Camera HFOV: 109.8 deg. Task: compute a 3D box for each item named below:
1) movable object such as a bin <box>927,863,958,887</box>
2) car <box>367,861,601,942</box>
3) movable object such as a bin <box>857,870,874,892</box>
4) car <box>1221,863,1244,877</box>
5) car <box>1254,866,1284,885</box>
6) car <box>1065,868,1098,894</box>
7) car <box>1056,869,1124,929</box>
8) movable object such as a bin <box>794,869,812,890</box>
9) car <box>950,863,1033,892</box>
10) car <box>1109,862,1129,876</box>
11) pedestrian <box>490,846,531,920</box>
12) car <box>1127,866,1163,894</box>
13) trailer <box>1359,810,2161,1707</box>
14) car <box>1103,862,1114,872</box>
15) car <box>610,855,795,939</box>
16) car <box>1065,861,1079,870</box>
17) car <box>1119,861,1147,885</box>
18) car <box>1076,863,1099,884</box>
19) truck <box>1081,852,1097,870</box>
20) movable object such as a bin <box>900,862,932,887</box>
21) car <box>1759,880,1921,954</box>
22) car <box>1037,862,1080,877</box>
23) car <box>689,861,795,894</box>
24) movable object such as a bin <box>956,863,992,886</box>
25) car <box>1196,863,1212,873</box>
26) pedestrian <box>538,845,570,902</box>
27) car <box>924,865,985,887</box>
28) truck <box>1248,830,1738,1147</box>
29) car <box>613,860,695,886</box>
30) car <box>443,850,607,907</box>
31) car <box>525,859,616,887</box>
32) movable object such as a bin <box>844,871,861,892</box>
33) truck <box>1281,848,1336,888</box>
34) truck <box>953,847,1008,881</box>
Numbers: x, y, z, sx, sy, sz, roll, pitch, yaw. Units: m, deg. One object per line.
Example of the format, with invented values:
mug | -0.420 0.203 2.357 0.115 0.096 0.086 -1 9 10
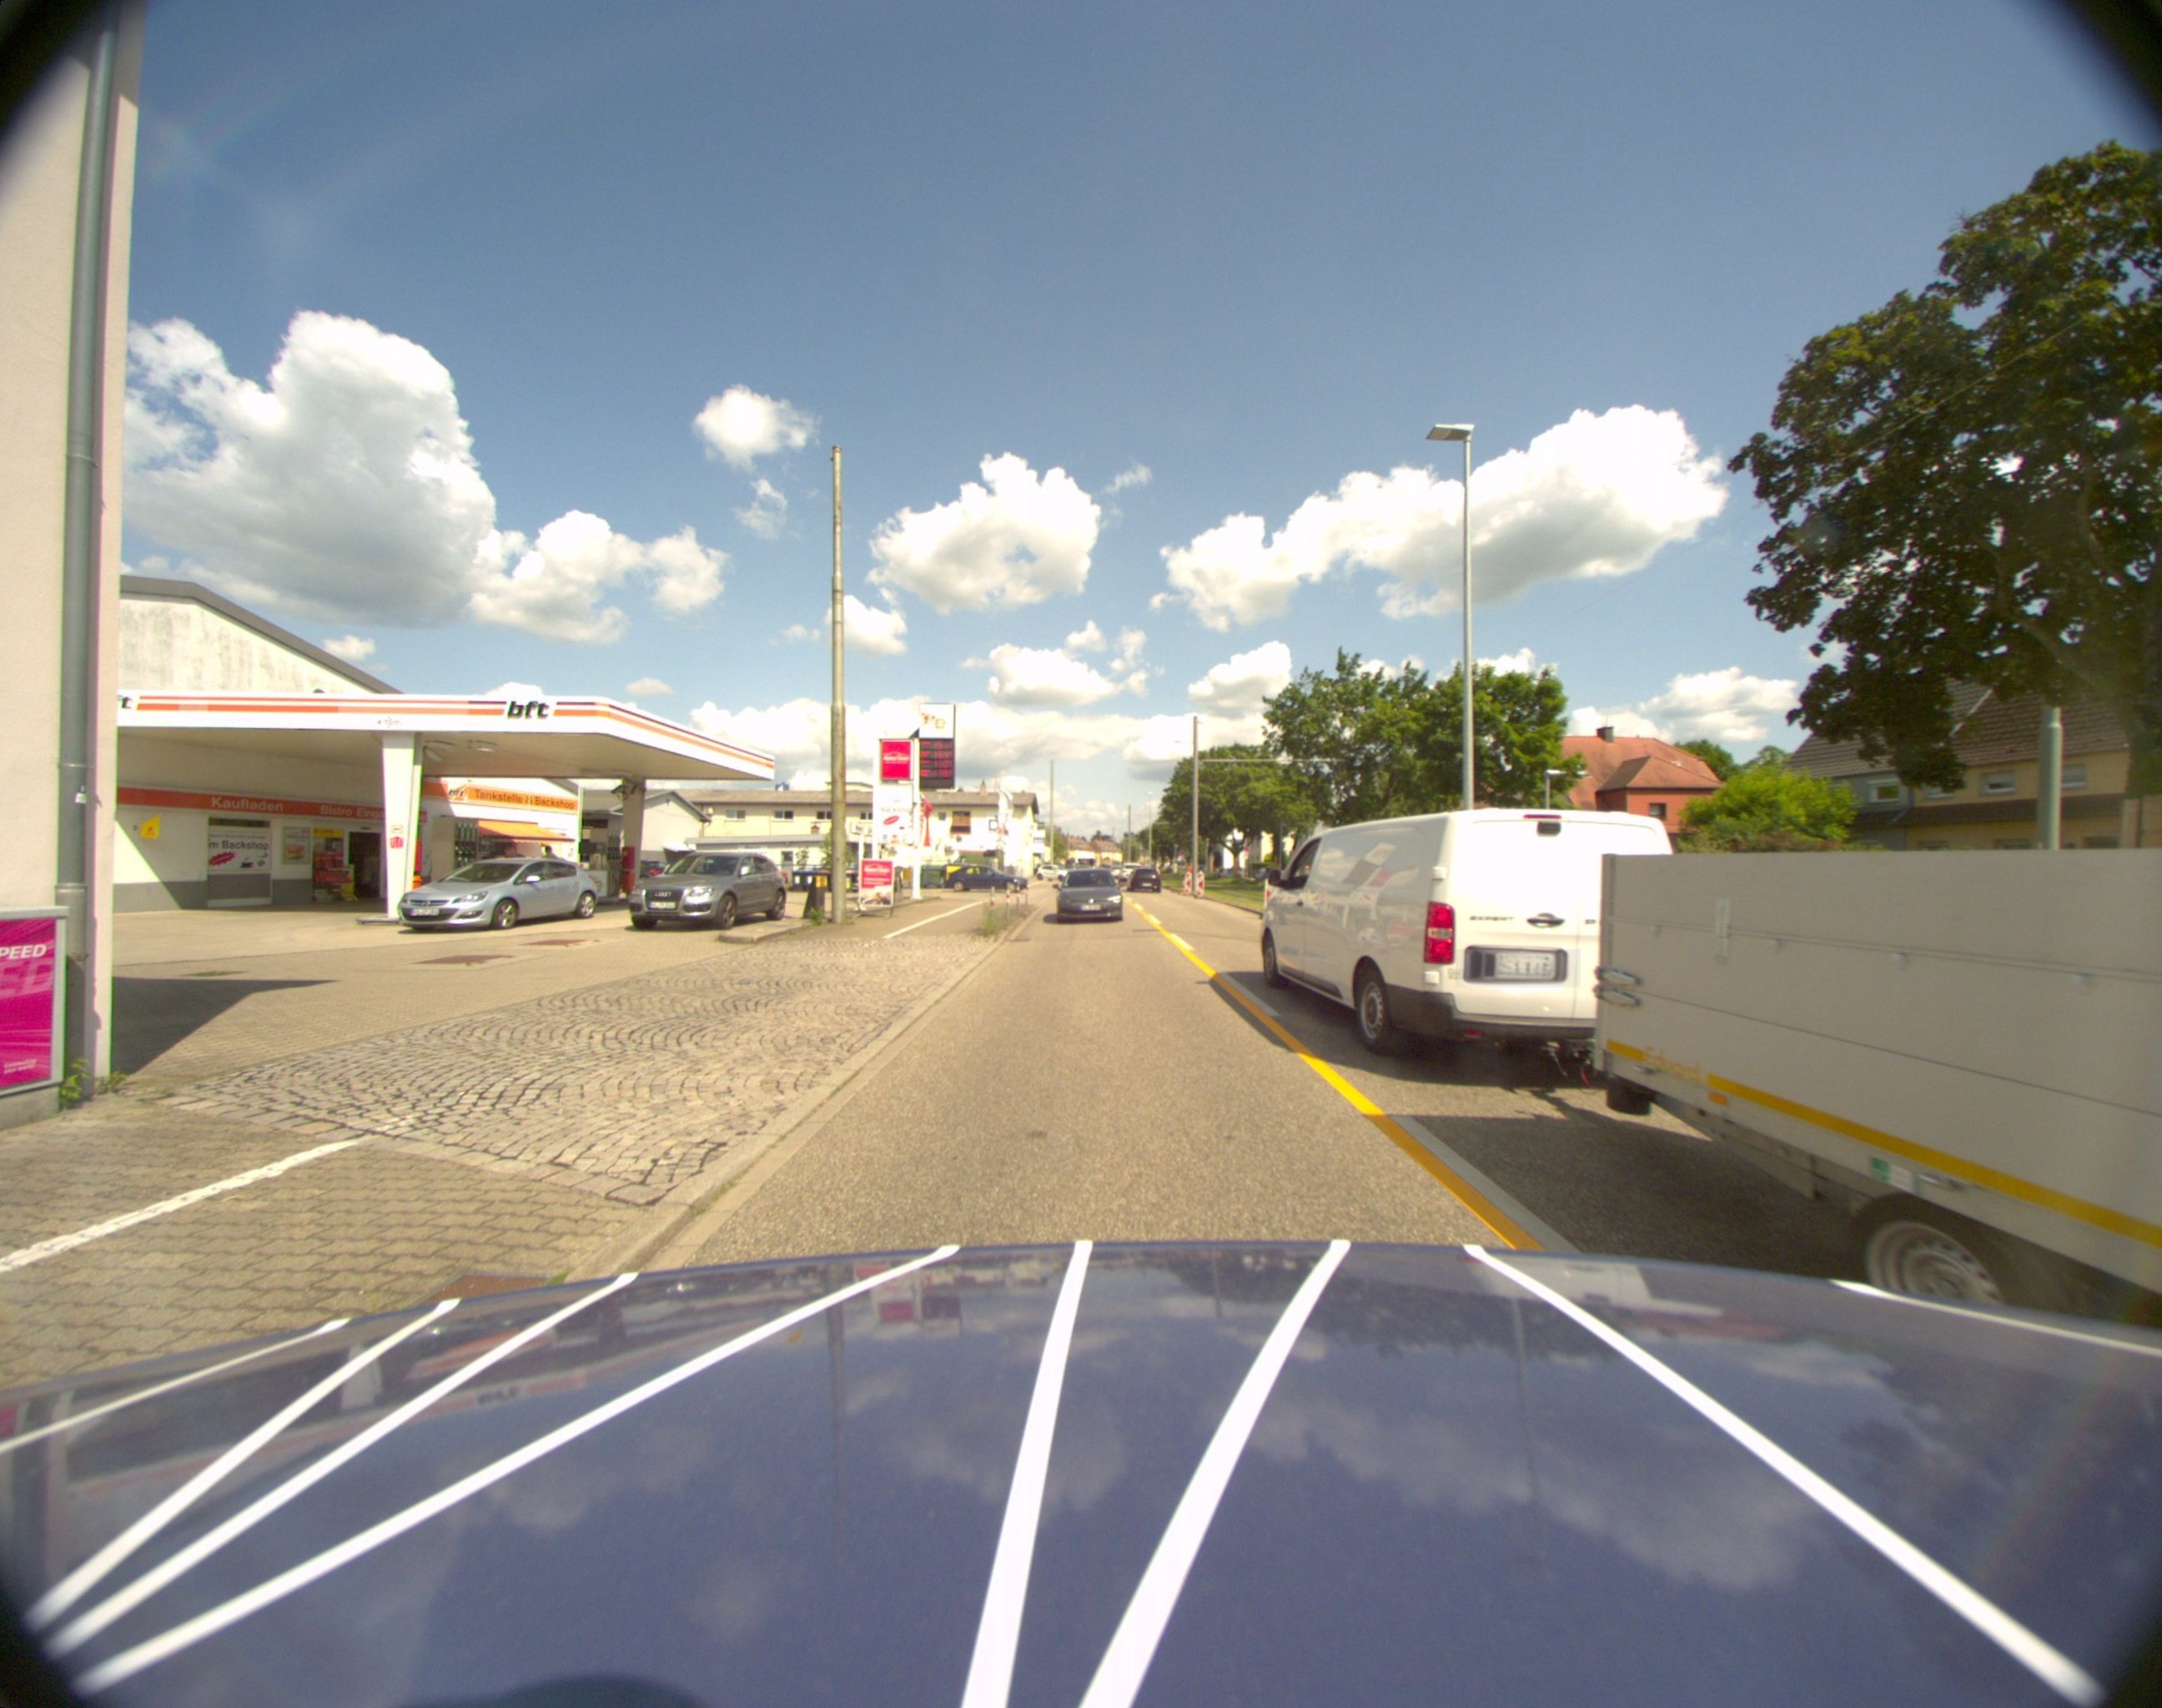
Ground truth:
movable object such as a bin | -8.437 1.282 46.433 1.536 1.402 1.765 -1 0 0
car | -12.650 0.916 16.533 1.696 1.462 4.422 0 0 -2
movable object such as a bin | -10.648 1.331 37.556 0.582 1.004 0.706 -1 1 -1
car | 16.930 1.768 85.009 1.707 1.504 4.524 -1 0 0
car | 16.591 1.892 67.175 1.672 1.504 3.931 -1 0 0
car | 0.052 1.479 42.931 1.732 1.259 4.000 -1 0 1
car | 0.282 1.187 21.676 1.743 1.410 4.381 -1 0 1
movable object such as a bin | -13.692 1.267 37.423 0.582 1.004 0.706 -1 1 -1
car | -4.690 1.222 40.047 4.061 1.400 1.648 0 1 7
car | 4.111 1.610 82.334 1.825 1.436 4.484 2 -1 0
pedestrian | -13.832 0.690 18.433 0.498 1.766 0.577 -1 1 -2
car | 3.665 1.463 44.050 1.696 1.404 3.859 3 0 0
trailer | 3.197 0.861 3.113 2.067 1.825 5.485 2 0 0
car | 4.342 1.971 118.617 1.582 1.460 3.721 1 0 1
car | -8.252 0.848 17.142 1.951 1.615 4.615 1 0 -1
car | -1.426 1.896 126.769 1.823 1.411 4.002 1 0 7
car | 3.914 1.445 58.338 1.829 1.656 4.462 2 0 0
car | 0.502 1.410 56.663 1.594 1.418 3.707 -1 0 1
truck | 1.386 1.129 127.323 2.632 2.871 7.924 -1 0 1
movable object such as a bin | -10.033 1.236 46.293 1.536 1.402 1.765 -1 0 0
car | 16.088 1.295 16.237 1.075 1.340 2.449 1 0 4
car | -2.061 1.405 69.017 3.719 1.350 1.521 -1 0 37
car | -15.846 1.070 35.634 4.144 1.416 1.771 1 1 2
movable object such as a bin | -6.551 1.252 46.760 1.968 1.339 1.708 -1 0 0
car | 17.218 1.948 106.608 1.636 1.294 4.000 -1 0 1
pedestrian | -16.052 0.590 23.156 0.688 1.712 0.617 -2 1 -30
car | -8.907 1.520 53.396 3.902 1.454 1.628 0 1 17
truck | 3.113 0.818 7.271 1.824 1.898 5.115 2 1 0
car | -21.769 0.977 38.804 3.309 1.218 1.488 1 1 2
car | -16.869 0.665 23.382 1.687 1.511 4.492 1 1 1
car | -26.155 0.953 38.990 3.645 1.307 1.553 1 1 2
movable object such as a bin | -11.270 1.346 37.506 0.582 1.004 0.706 -1 1 -1
truck | 16.844 1.002 56.648 2.371 2.788 5.951 -1 0 1
truck | -8.385 0.824 63.740 4.181 2.645 2.109 -1 1 2
